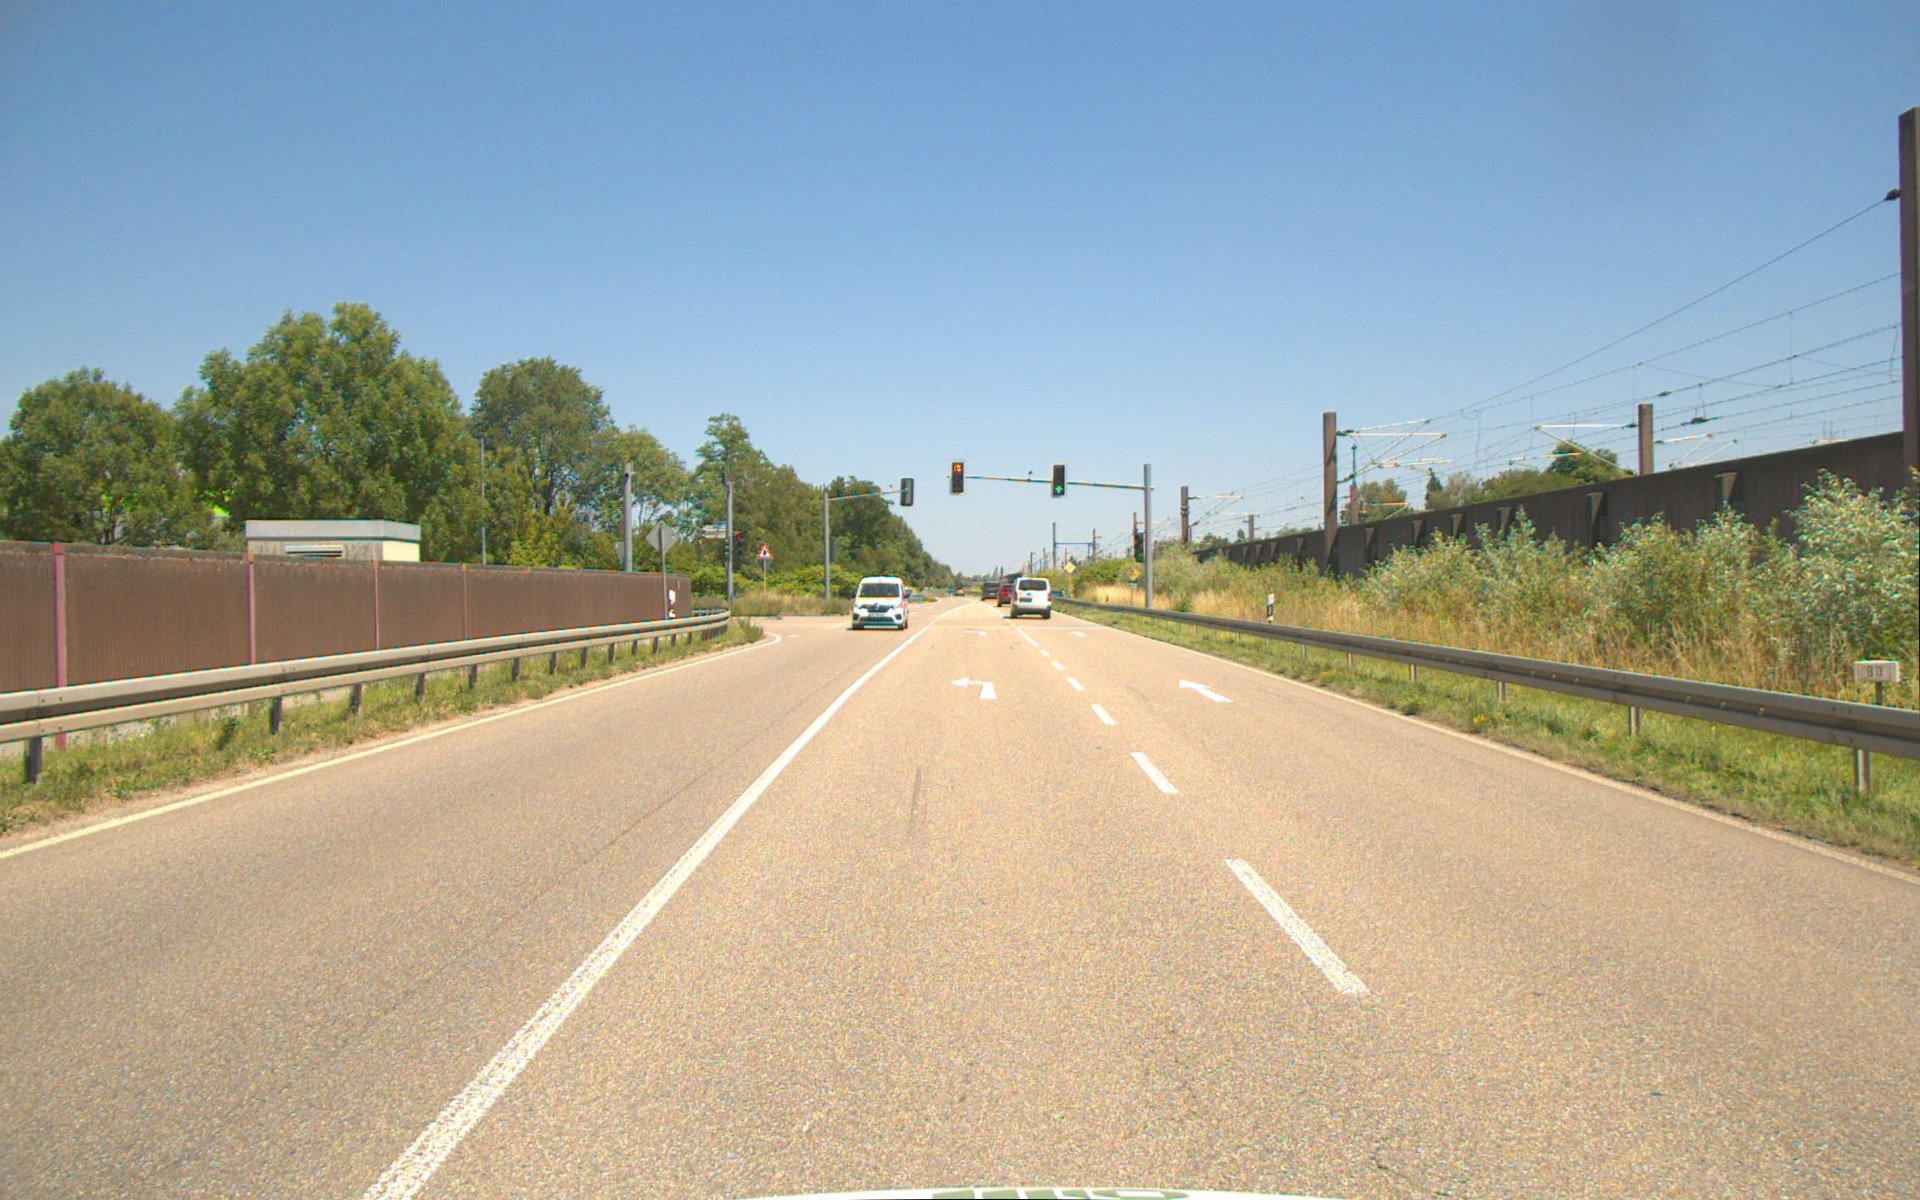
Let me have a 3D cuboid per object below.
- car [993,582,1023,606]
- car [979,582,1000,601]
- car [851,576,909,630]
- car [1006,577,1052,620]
[{"bbox_3d":[3.465,-0.439,120.569,1.979,1.756,4.542,0,0,-1],"label":"car"},{"bbox_3d":[3.111,-0.937,175.323,2.111,2.002,4.542,0,0,-1],"label":"car"},{"bbox_3d":[-2.741,0.076,57.757,1.849,1.770,4.776,0,0,-1],"label":"car"},{"bbox_3d":[3.323,-0.088,80.199,1.953,2.018,4.059,1,1,-1],"label":"car"}]
